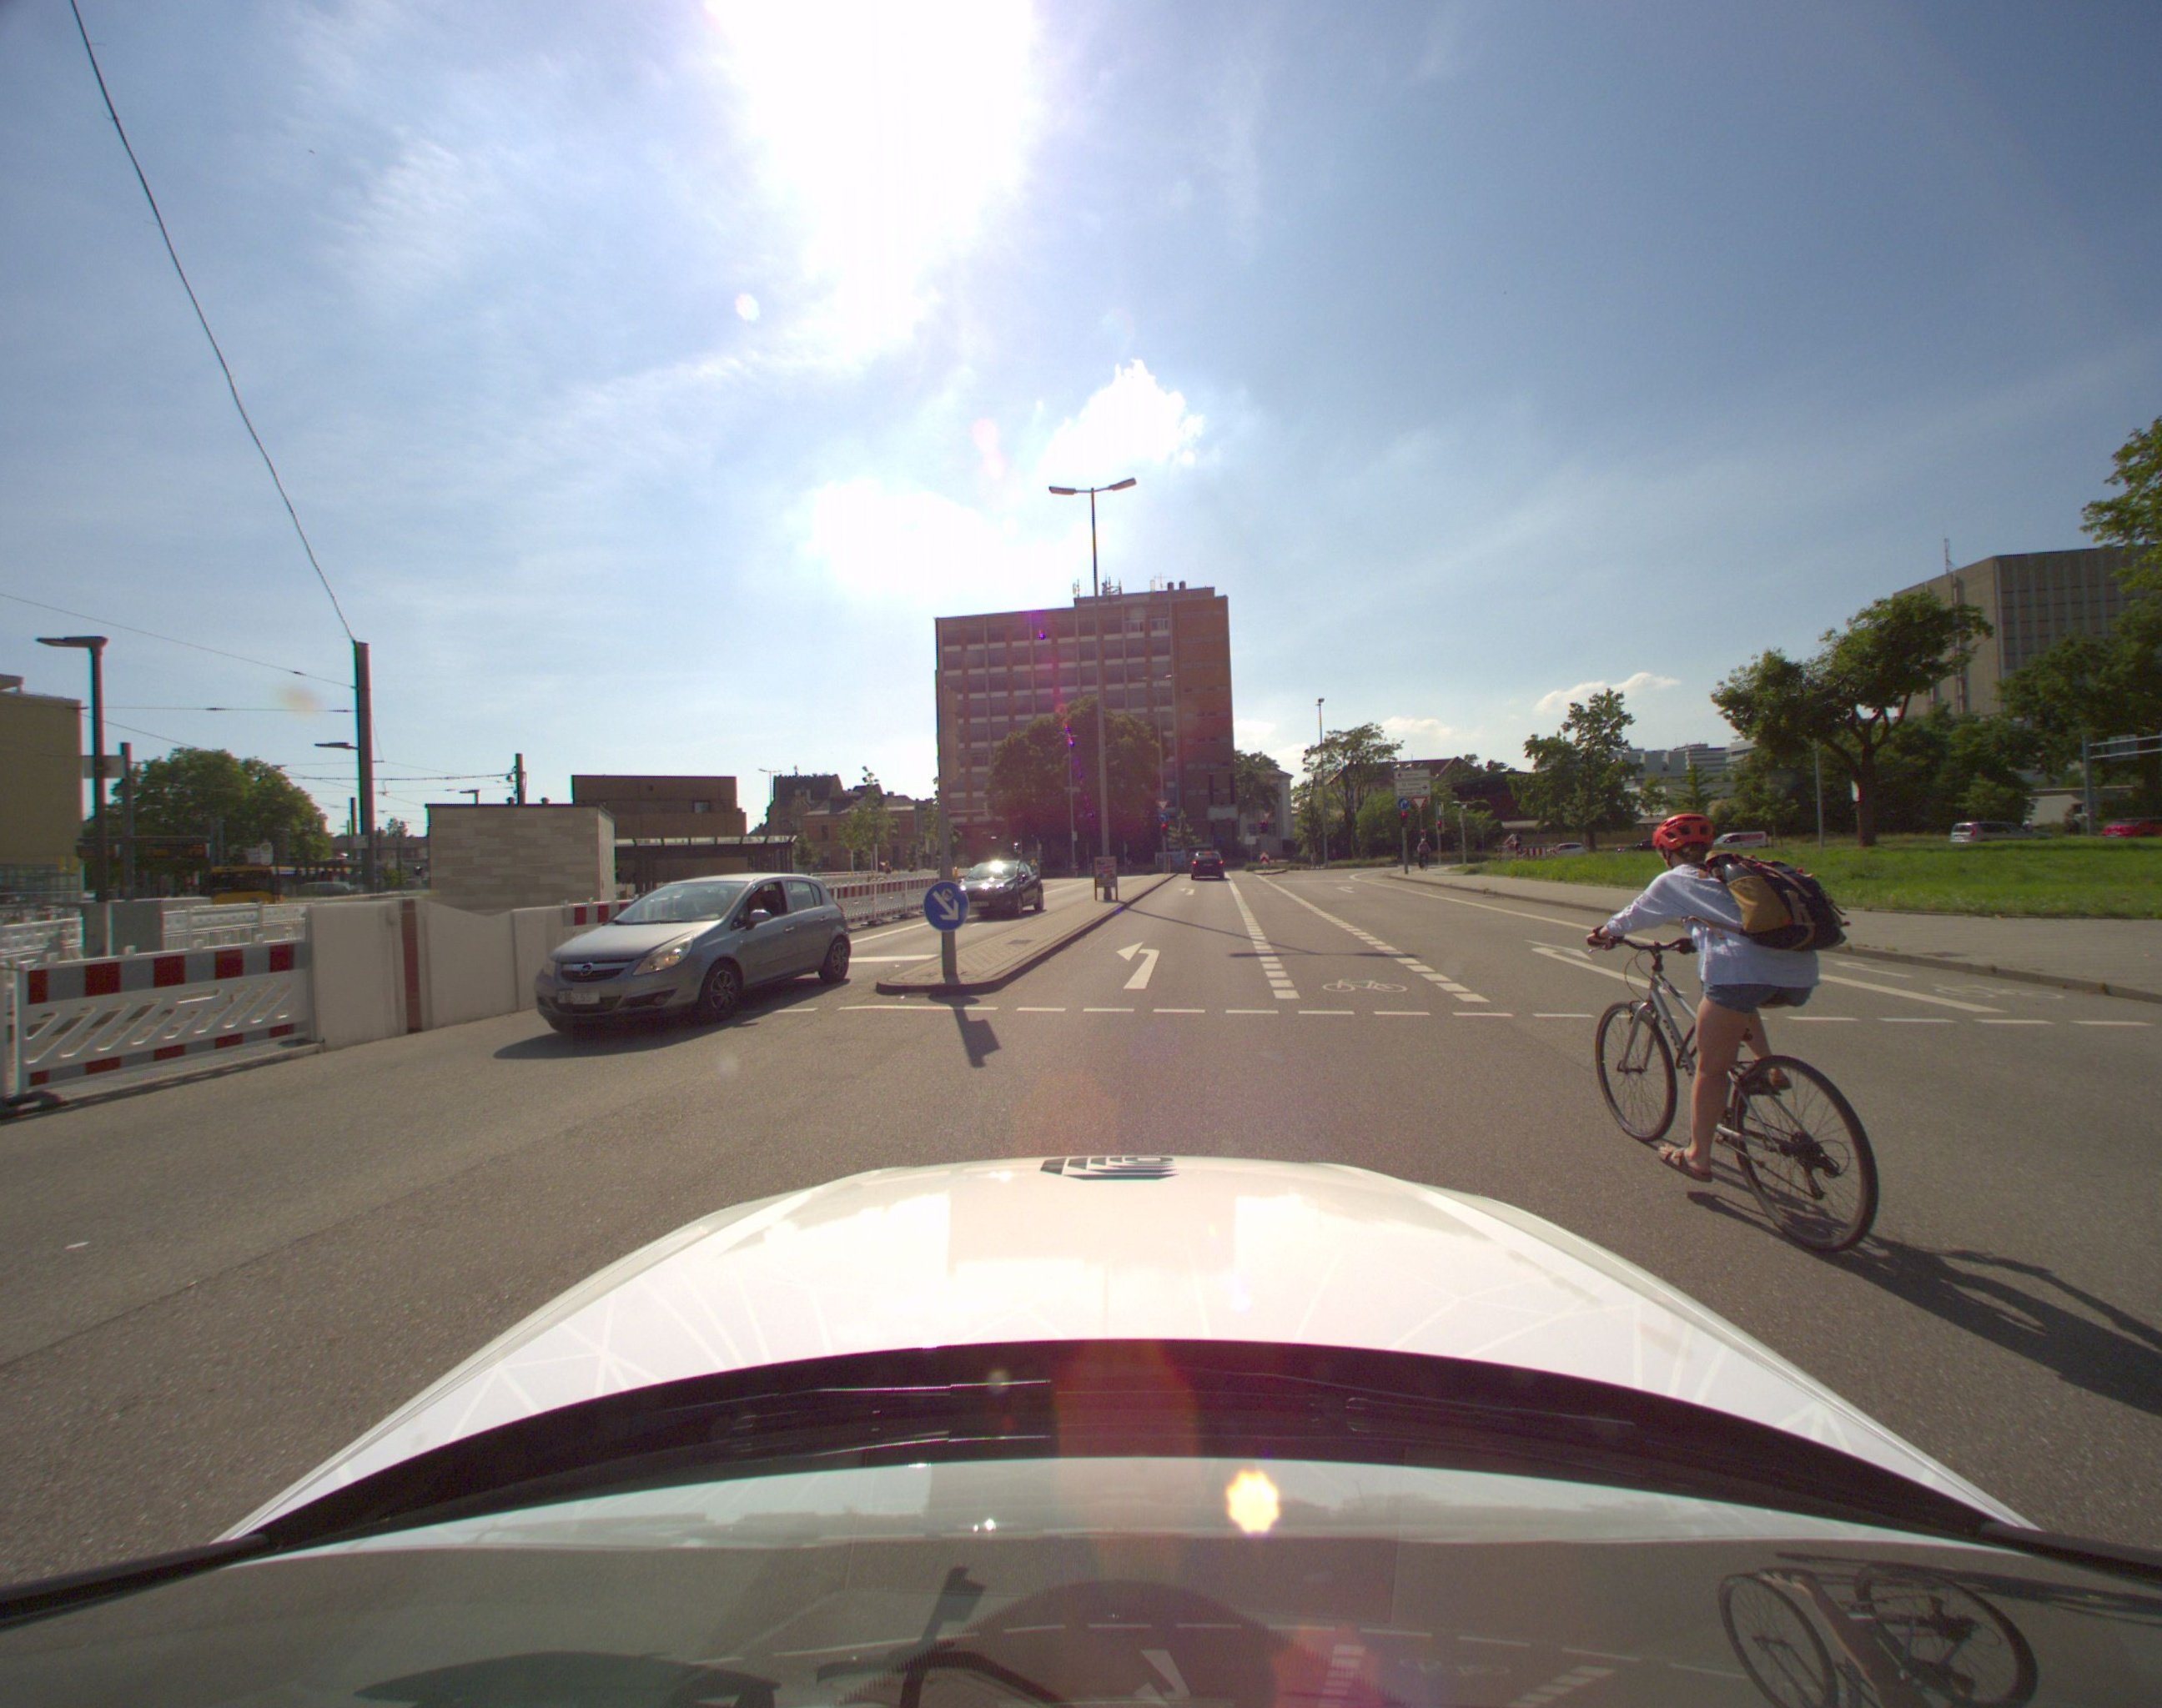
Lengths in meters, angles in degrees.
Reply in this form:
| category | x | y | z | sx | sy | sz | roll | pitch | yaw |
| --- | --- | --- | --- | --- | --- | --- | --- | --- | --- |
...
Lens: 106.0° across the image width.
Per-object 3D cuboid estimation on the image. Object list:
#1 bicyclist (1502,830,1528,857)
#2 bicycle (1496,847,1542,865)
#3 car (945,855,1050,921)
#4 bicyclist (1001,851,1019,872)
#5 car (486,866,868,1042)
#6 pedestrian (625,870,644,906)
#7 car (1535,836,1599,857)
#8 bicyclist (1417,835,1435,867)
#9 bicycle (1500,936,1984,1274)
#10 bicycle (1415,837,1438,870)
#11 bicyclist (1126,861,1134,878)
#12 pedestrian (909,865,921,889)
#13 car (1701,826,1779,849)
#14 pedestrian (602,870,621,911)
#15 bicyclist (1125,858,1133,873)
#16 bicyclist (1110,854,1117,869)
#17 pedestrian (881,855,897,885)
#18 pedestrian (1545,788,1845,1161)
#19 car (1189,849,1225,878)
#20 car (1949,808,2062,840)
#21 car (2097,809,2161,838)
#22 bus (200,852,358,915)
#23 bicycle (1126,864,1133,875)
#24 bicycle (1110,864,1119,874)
| category | x | y | z | sx | sy | sz | roll | pitch | yaw |
| --- | --- | --- | --- | --- | --- | --- | --- | --- | --- |
| bicyclist | 24.232 | -0.561 | 45.478 | 0.498 | 1.470 | 1.131 | 1 | -1 | -34 |
| bicycle | 24.383 | 0.126 | 45.347 | 0.677 | 0.916 | 2.146 | -2 | -1 | -33 |
| car | -2.083 | 0.825 | 21.350 | 1.656 | 1.451 | 3.828 | -4 | 0 | 10 |
| bicyclist | -5.393 | 0.576 | 61.468 | 1.155 | 1.474 | 0.567 | -3 | -1 | 21 |
| car | -4.177 | 0.940 | 9.282 | 1.783 | 1.412 | 4.011 | -4 | 0 | 10 |
| pedestrian | -22.152 | 1.685 | 40.374 | 0.533 | 1.708 | 0.573 | -3 | -1 | 30 |
| car | 39.325 | -0.619 | 65.947 | 3.963 | 1.464 | 2.005 | -3 | -2 | 9 |
| bicyclist | 18.813 | -0.169 | 44.423 | 0.674 | 1.655 | 0.921 | -3 | 0 | 9 |
| bicycle | 2.744 | 0.946 | 3.755 | 0.594 | 0.931 | 2.028 | -1 | -1 | 1 |
| bicycle | 18.799 | -0.034 | 44.396 | 0.674 | 1.765 | 1.816 | -3 | 0 | 9 |
| bicyclist | 4.800 | 1.525 | 80.355 | 0.615 | 1.582 | 1.015 | -5 | -1 | 4 |
| pedestrian | -10.518 | 1.429 | 51.687 | 0.630 | 1.491 | 0.615 | -3 | -1 | -7 |
| car | 51.272 | -1.270 | 63.439 | 4.284 | 1.569 | 1.915 | -3 | 0 | 9 |
| pedestrian | -22.550 | 1.732 | 39.120 | 0.436 | 1.915 | 0.610 | -3 | -1 | 30 |
| bicyclist | 4.770 | 1.160 | 80.361 | 0.615 | 1.443 | 0.922 | -5 | -1 | 4 |
| bicyclist | 3.349 | 0.778 | 82.892 | 0.536 | 1.417 | 1.032 | -4 | -2 | 8 |
| pedestrian | -11.849 | 1.004 | 50.332 | 0.735 | 1.752 | 1.108 | -3 | -3 | -7 |
| pedestrian | 2.721 | 0.479 | 3.733 | 0.581 | 1.466 | 1.013 | -1 | -1 | 1 |
| car | 6.660 | 0.458 | 42.800 | 1.769 | 1.443 | 3.828 | -1 | 0 | 10 |
| car | 52.317 | -1.669 | 46.154 | 3.963 | 1.508 | 1.757 | -3 | 0 | 9 |
| car | 58.873 | -1.643 | 44.553 | 3.963 | 1.508 | 1.757 | 1 | 0 | 9 |
| bus | -48.859 | 1.751 | 50.241 | 2.868 | 3.281 | 12.551 | -2 | 0 | -25 |
| bicycle | 4.801 | 1.525 | 80.355 | 0.615 | 0.961 | 1.970 | -5 | -1 | 5 |
| bicycle | 3.393 | 1.514 | 83.180 | 0.700 | 0.977 | 2.035 | -3 | 0 | 7 |
